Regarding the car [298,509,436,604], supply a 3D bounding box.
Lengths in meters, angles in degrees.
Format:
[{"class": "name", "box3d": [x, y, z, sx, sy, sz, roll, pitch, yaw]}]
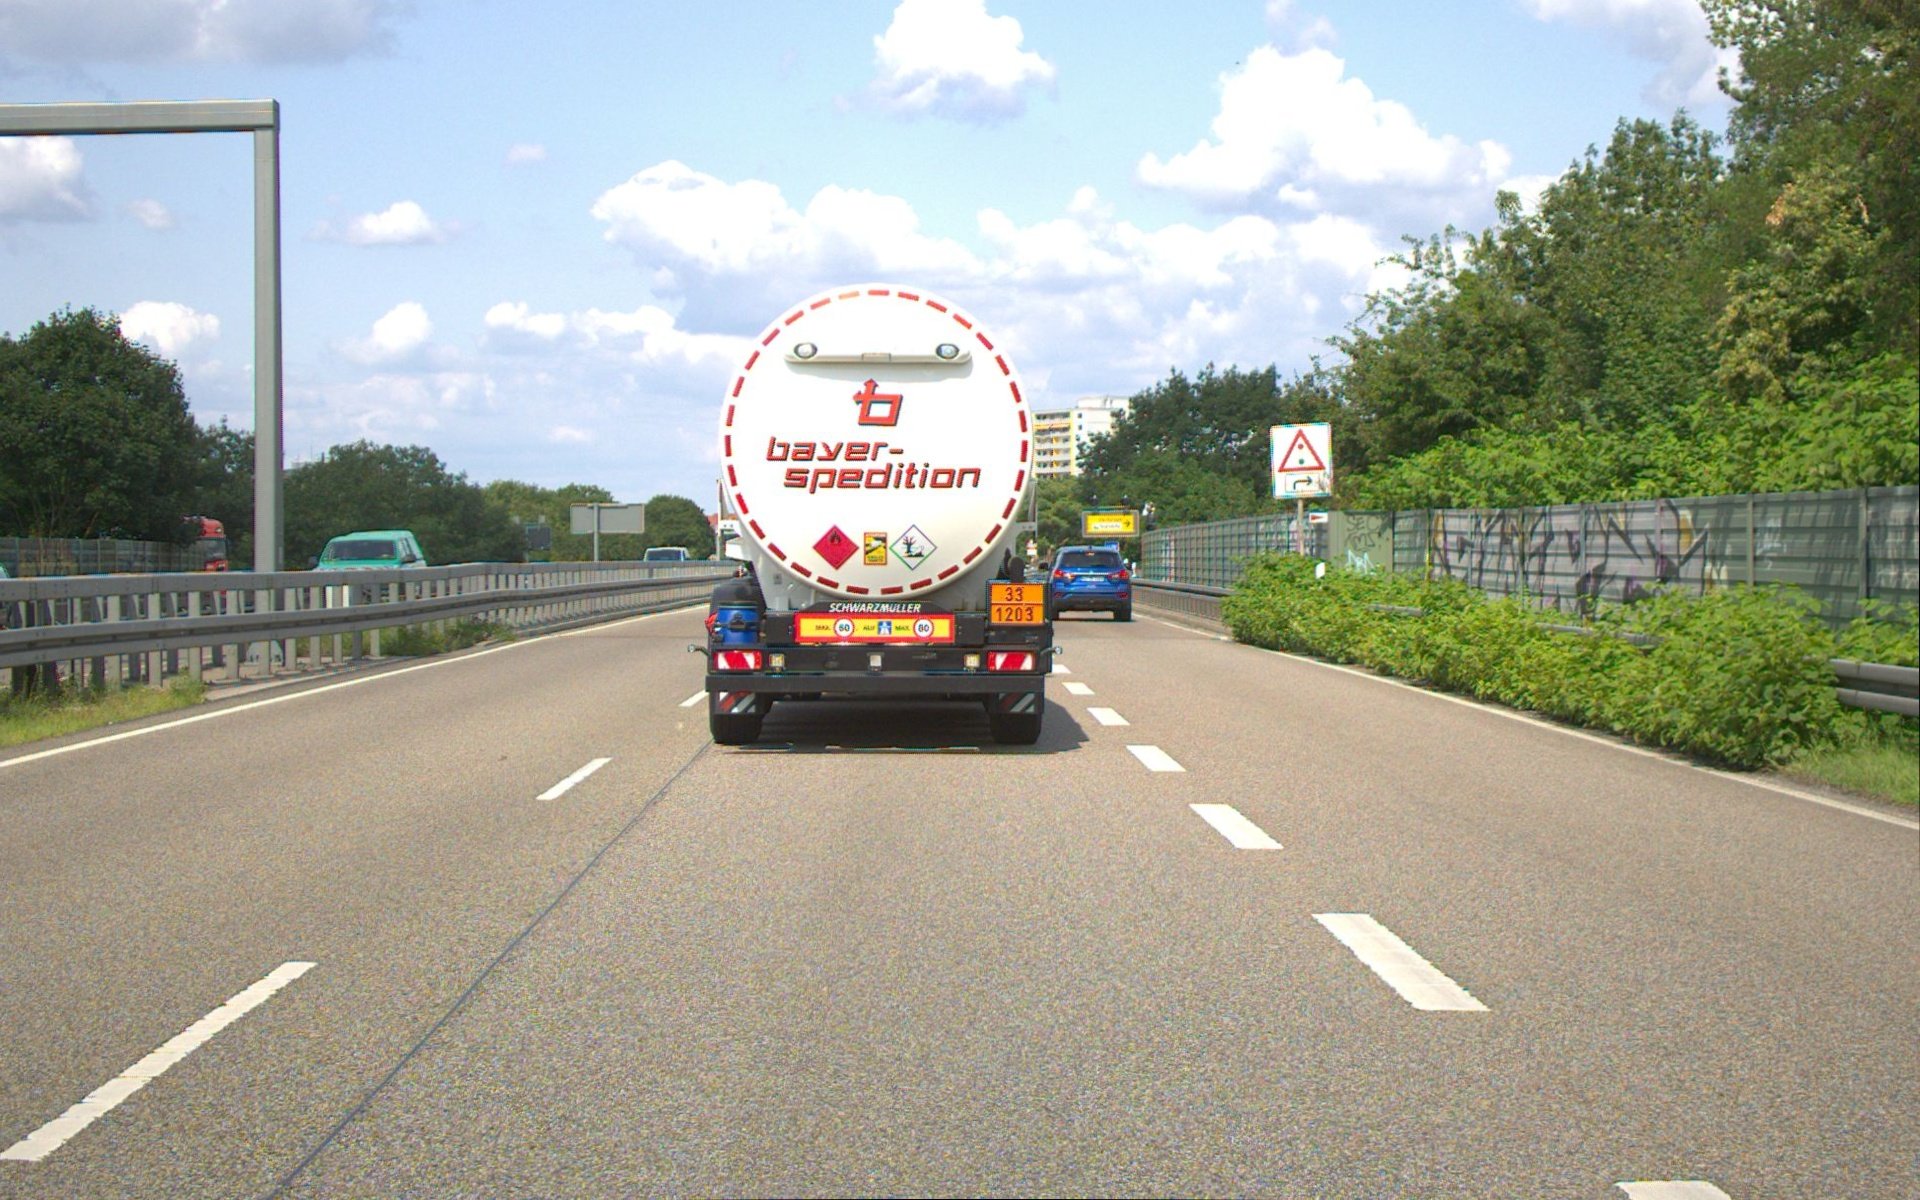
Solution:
[{"class": "car", "box3d": [-12.160, -0.896, 70.850, 1.993, 1.857, 5.393, 1, 1, -1]}]

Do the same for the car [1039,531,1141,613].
[{"class": "car", "box3d": [2.802, -0.614, 74.638, 1.993, 1.700, 4.000, 1, 1, -1]}]

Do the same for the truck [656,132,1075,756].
[{"class": "truck", "box3d": [-0.710, -1.137, 28.232, 2.895, 4.354, 8.030, 1, 1, -1]}]
